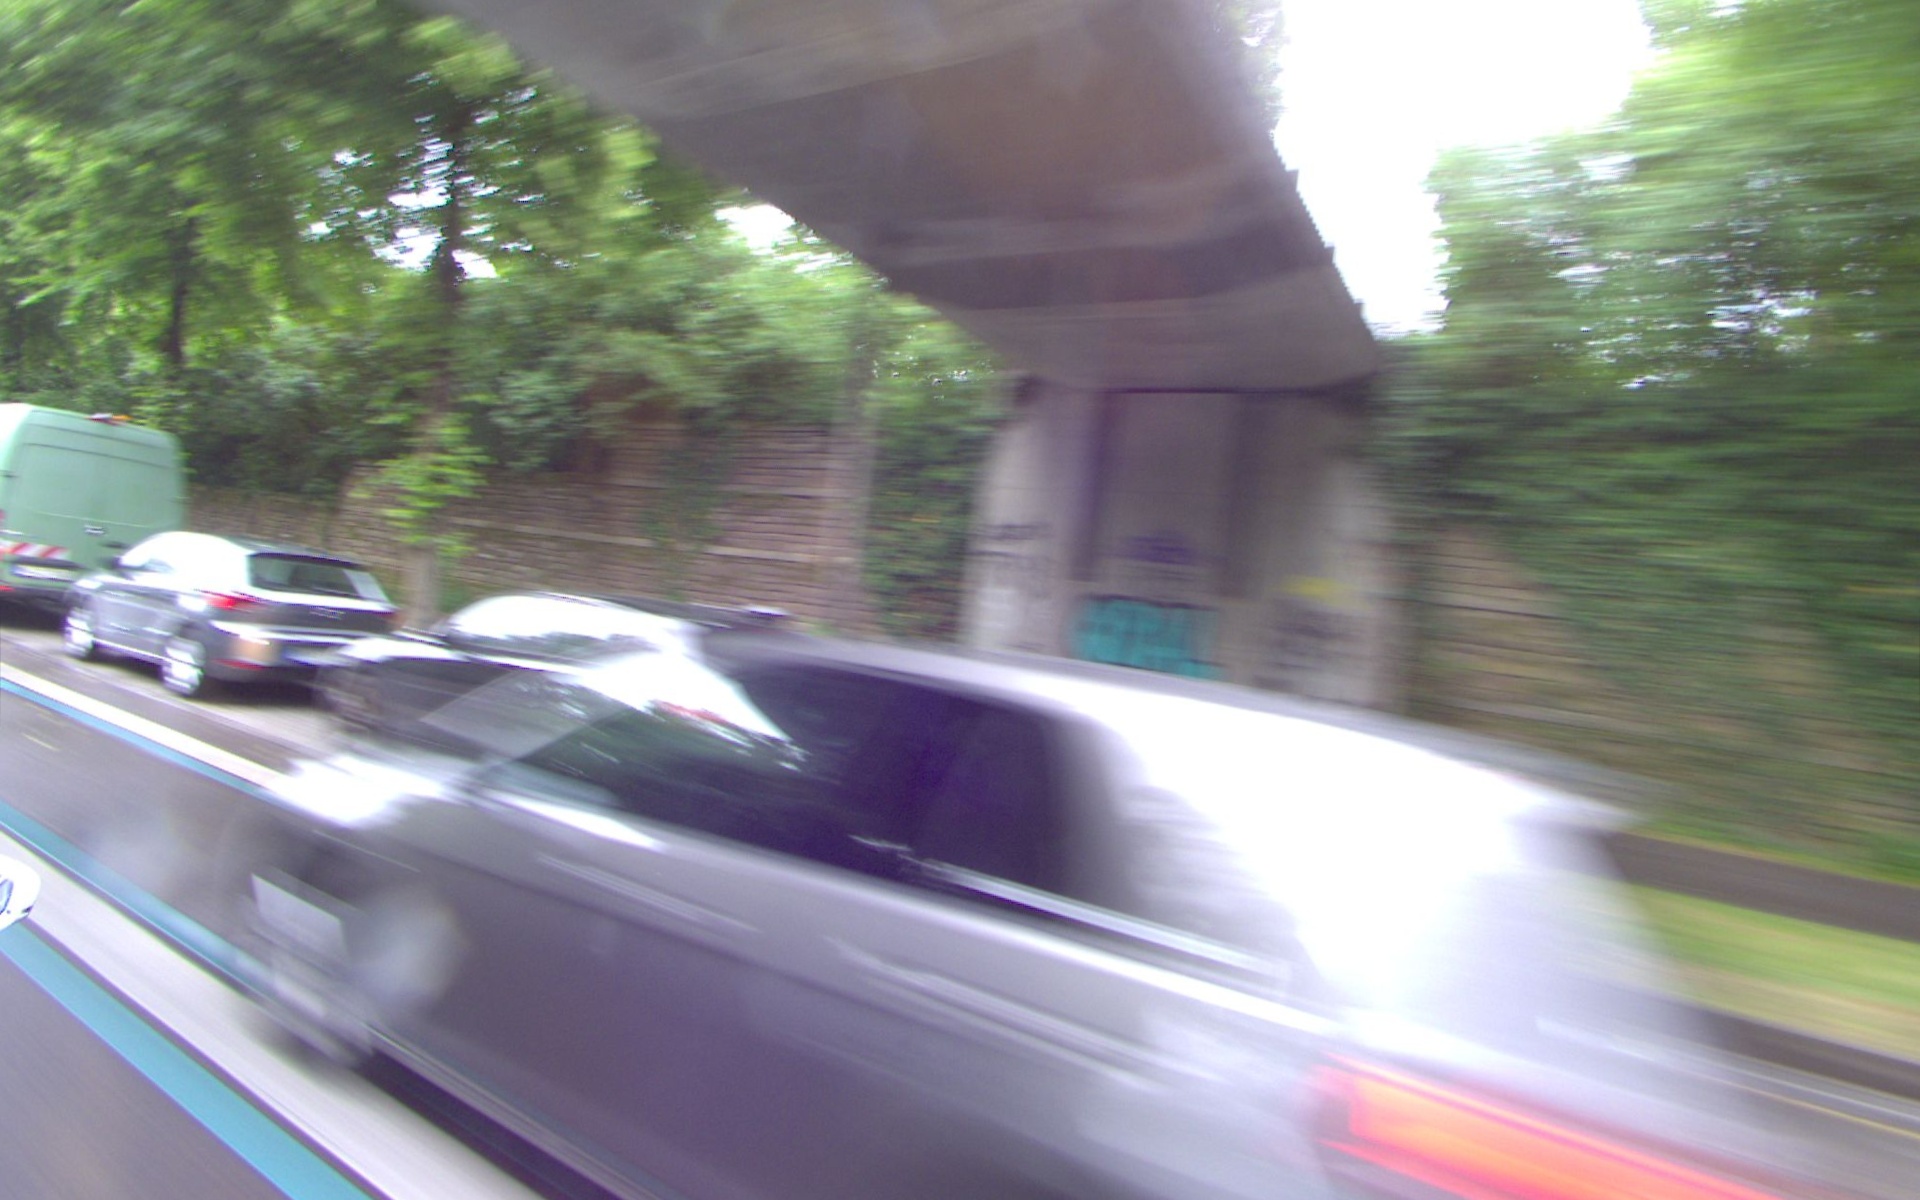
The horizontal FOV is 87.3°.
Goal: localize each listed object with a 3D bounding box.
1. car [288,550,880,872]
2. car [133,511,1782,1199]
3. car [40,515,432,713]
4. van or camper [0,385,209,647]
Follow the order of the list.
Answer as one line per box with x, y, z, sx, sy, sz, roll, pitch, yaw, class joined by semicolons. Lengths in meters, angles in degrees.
-2.798;0.608;7.198;4.127;1.434;1.688;7;0;32;car
-0.438;0.744;2.946;4.071;1.526;1.820;7;-1;33;car
-7.313;0.106;10.065;4.033;1.433;1.689;6;-2;32;car
-13.082;-1.217;13.688;6.787;2.760;2.046;7;-2;32;van or camper
